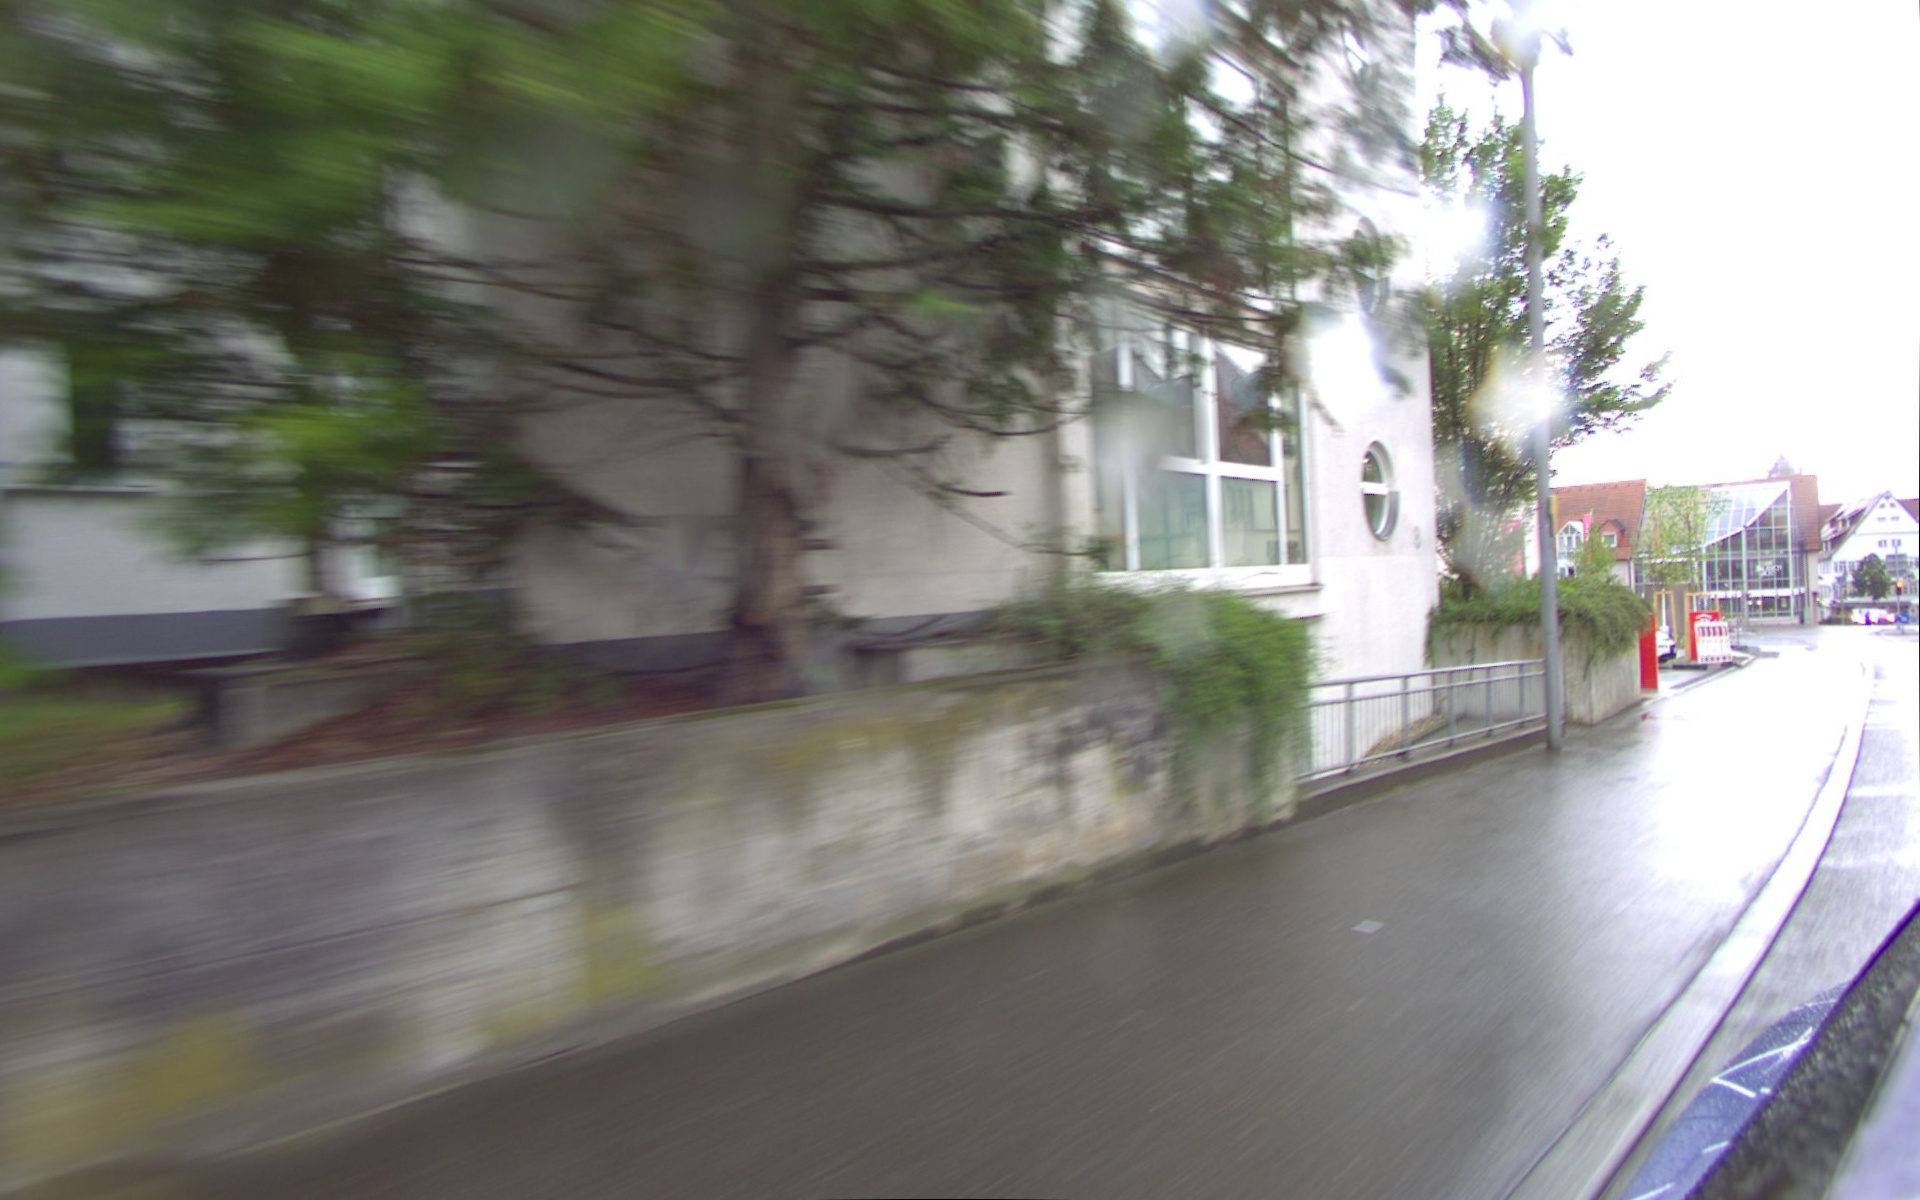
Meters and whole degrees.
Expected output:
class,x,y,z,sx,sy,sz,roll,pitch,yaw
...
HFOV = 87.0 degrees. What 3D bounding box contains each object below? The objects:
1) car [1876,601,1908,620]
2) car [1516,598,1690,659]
class,x,y,z,sx,sy,sz,roll,pitch,yaw
car,80.986,0.939,87.973,1.719,1.567,3.944,-2,-2,38
car,17.215,0.791,27.175,3.664,1.523,1.749,-3,-3,43
